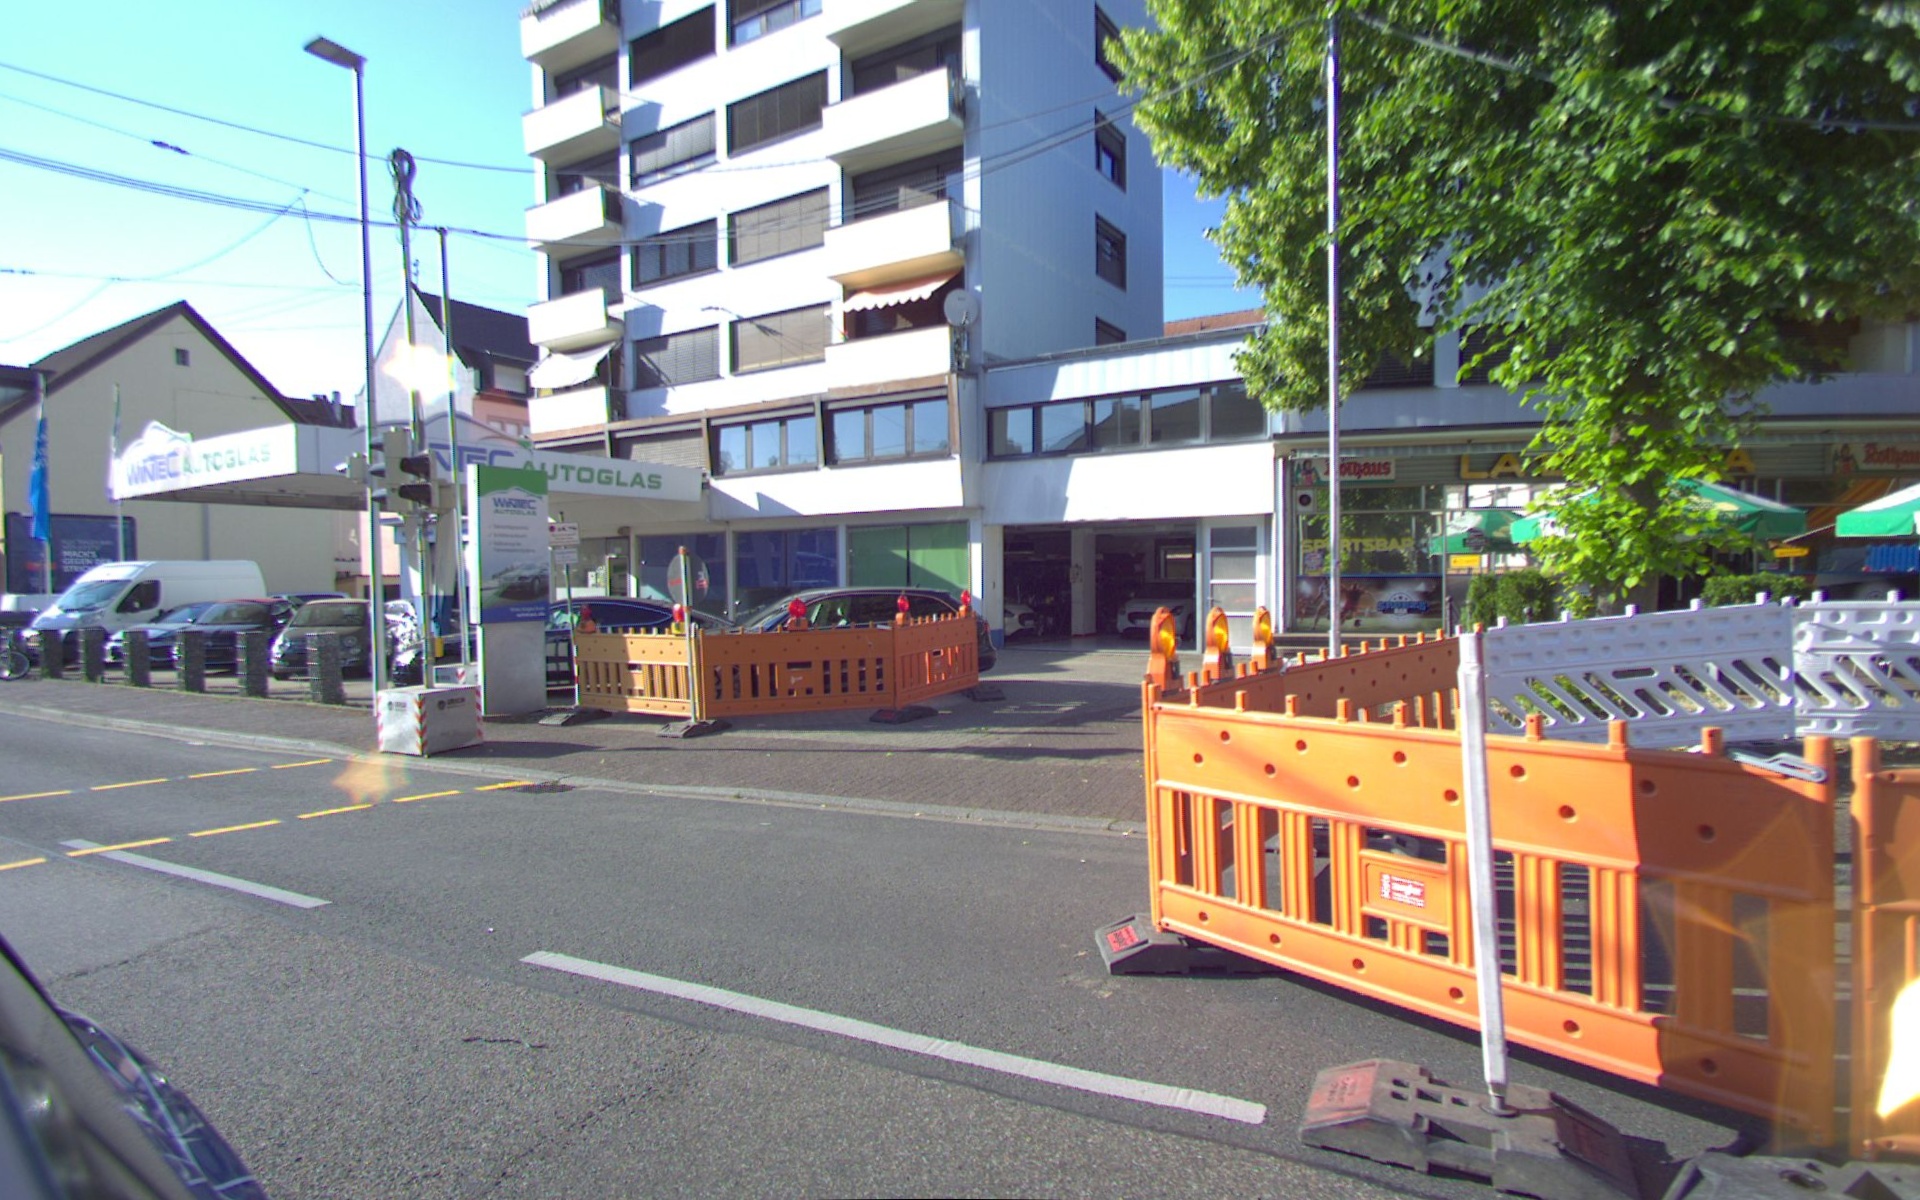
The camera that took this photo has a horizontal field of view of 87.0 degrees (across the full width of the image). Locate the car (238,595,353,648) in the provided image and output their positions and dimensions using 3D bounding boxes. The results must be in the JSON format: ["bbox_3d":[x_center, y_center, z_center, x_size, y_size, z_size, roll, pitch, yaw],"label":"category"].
[{"bbox_3d":[-26.701,0.803,40.779,1.446,2.029,3.636,0,0,31],"label":"car"}]

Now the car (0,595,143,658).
[{"bbox_3d":[-30.479,0.849,34.645,1.446,2.029,3.636,0,0,31],"label":"car"}]

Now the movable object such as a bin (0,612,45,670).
[{"bbox_3d":[-25.161,1.063,26.330,1.036,1.475,1.791,0,0,8],"label":"movable object such as a bin"}]

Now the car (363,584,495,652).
[{"bbox_3d":[-16.287,0.510,30.990,4.246,1.958,1.723,0,1,33],"label":"car"}]

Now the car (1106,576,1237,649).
[{"bbox_3d":[5.273,0.252,24.934,1.571,1.620,3.705,0,1,41],"label":"car"}]

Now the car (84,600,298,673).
[{"bbox_3d":[-17.760,0.778,23.632,1.721,1.508,4.025,-1,1,5],"label":"car"}]

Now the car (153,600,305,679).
[{"bbox_3d":[-15.460,0.769,21.595,1.568,1.508,3.446,-1,1,-17],"label":"car"}]

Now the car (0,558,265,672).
[{"bbox_3d":[-20.060,0.308,24.783,2.093,2.472,4.975,-1,1,11],"label":"car"}]

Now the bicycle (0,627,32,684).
[{"bbox_3d":[-19.790,1.123,20.679,1.785,1.094,0.718,-1,1,31],"label":"bicycle"}]

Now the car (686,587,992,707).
[{"bbox_3d":[-1.610,0.567,13.786,3.817,1.449,1.601,0,-1,-29],"label":"car"}]

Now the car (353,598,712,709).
[{"bbox_3d":[-6.064,0.717,14.934,4.610,1.449,1.938,0,-1,-15],"label":"car"}]

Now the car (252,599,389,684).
[{"bbox_3d":[-12.647,0.756,20.207,1.515,1.497,3.384,-1,1,-18],"label":"car"}]

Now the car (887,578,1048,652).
[{"bbox_3d":[0.176,0.345,24.944,3.618,1.686,1.705,0,0,31],"label":"car"}]
